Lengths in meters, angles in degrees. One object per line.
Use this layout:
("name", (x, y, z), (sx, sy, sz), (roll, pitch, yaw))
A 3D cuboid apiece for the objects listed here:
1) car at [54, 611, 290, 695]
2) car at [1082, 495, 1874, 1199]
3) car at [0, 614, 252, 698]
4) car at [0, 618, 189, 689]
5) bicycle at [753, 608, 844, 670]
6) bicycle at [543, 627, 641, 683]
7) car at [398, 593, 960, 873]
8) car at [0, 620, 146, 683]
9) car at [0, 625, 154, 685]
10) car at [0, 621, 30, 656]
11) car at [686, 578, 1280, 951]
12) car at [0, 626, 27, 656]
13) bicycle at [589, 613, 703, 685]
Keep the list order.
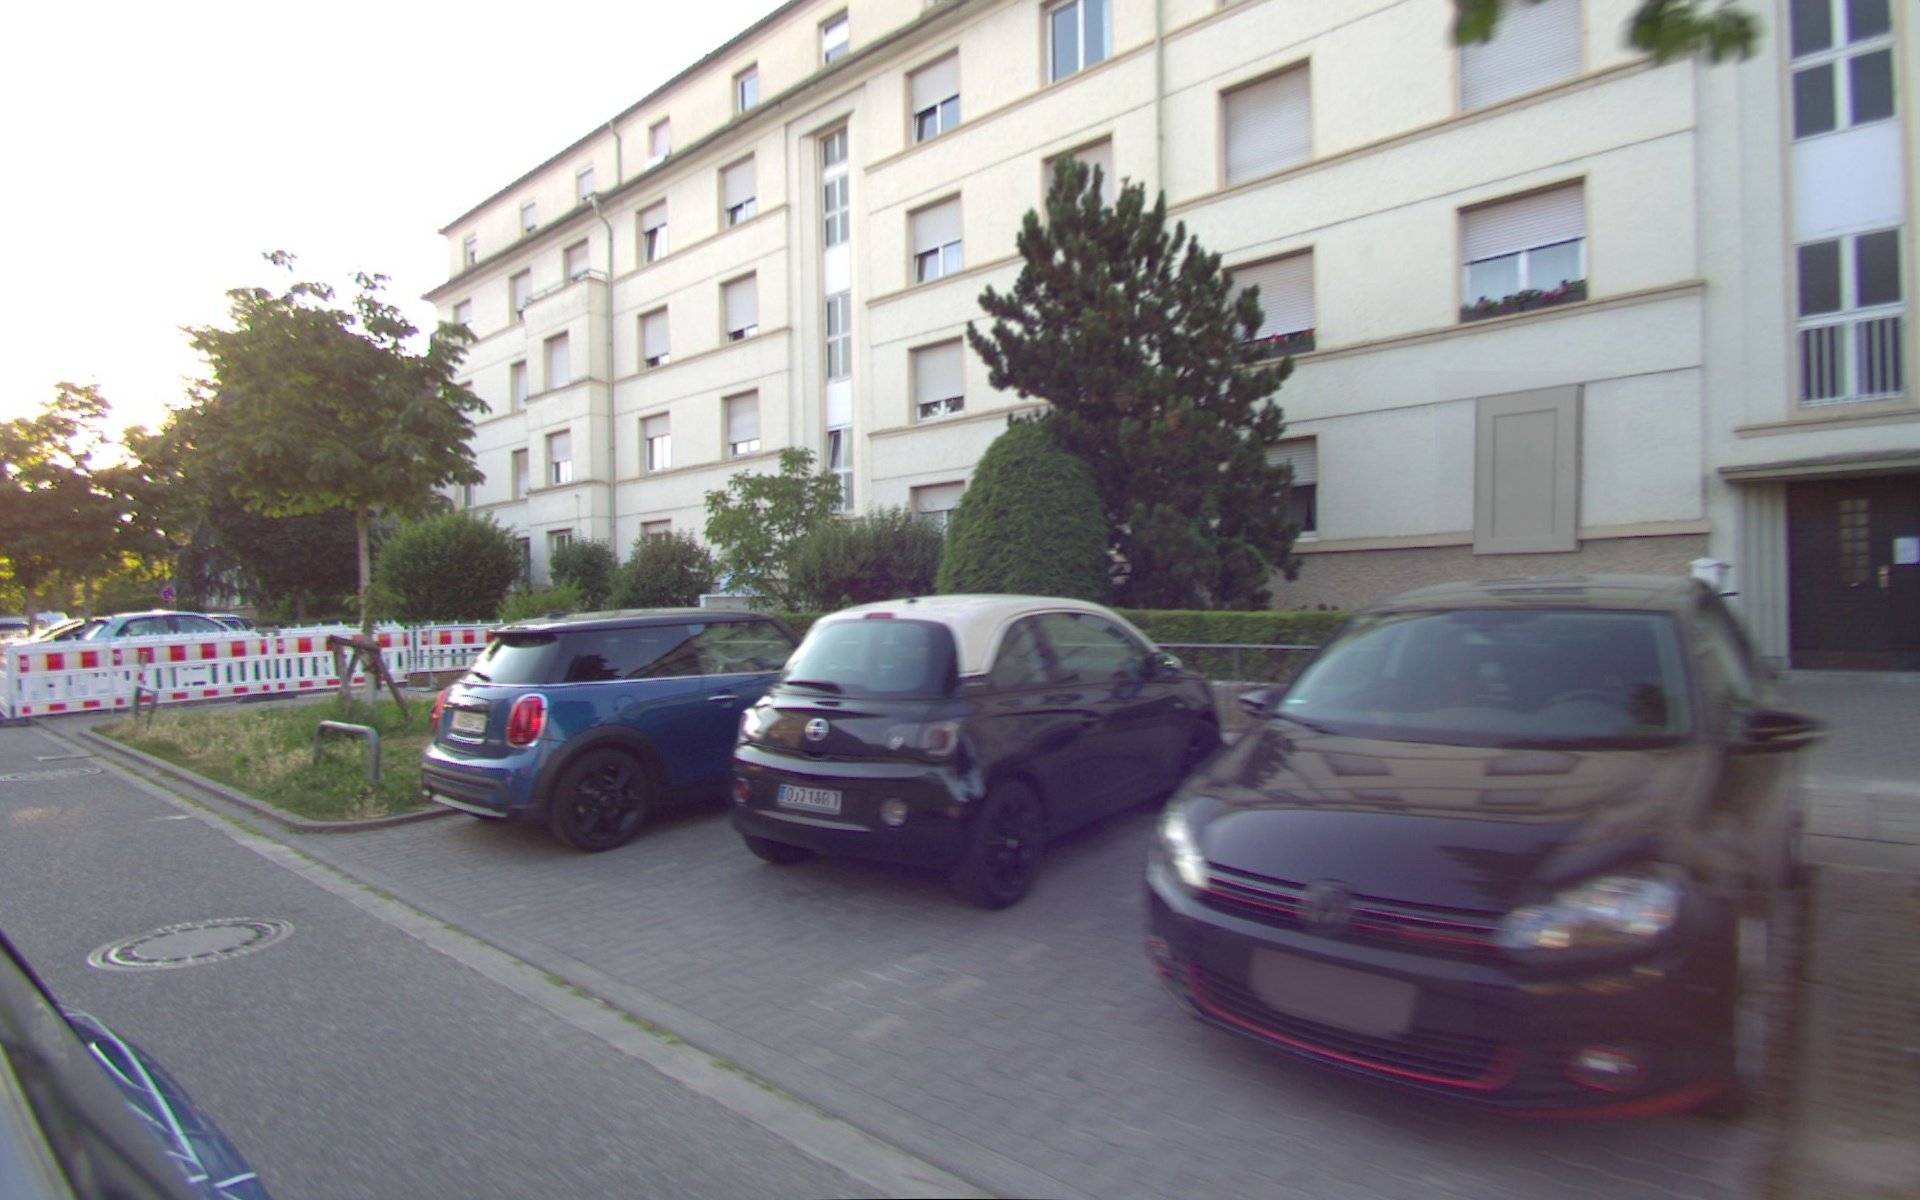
("car", (-16.734, 1.070, 21.625), (1.726, 1.495, 3.663), (-2, 1, 39))
("car", (2.355, 0.501, 3.955), (1.728, 1.500, 3.934), (0, 1, 43))
("car", (-18.679, 1.167, 22.515), (1.723, 1.495, 4.472), (-2, 0, 33))
("car", (-22.204, 1.321, 25.634), (1.728, 1.495, 3.988), (-2, 1, 43))
("bicycle", (-3.389, 0.790, 21.361), (0.490, 1.195, 2.007), (-2, 0, 42))
("bicycle", (-7.387, 1.095, 20.397), (0.360, 0.999, 1.900), (-2, 0, 42))
("car", (-1.861, 0.728, 7.489), (1.728, 1.456, 3.638), (0, 1, 42))
("car", (-26.118, 1.463, 29.129), (1.728, 1.553, 3.943), (-2, 1, 43))
("car", (-24.523, 1.473, 27.540), (1.606, 1.395, 3.801), (-2, 1, 42))
("car", (-59.085, 2.369, 60.761), (4.719, 2.085, 2.002), (-1, -1, -44))
("car", (0.402, 0.662, 6.119), (1.726, 1.495, 3.642), (-2, 0, 38))
("car", (-57.116, 2.436, 58.890), (4.073, 1.696, 2.002), (-1, -1, -44))
("bicycle", (-5.807, 0.881, 18.809), (0.540, 1.195, 2.007), (-2, 0, 42))
